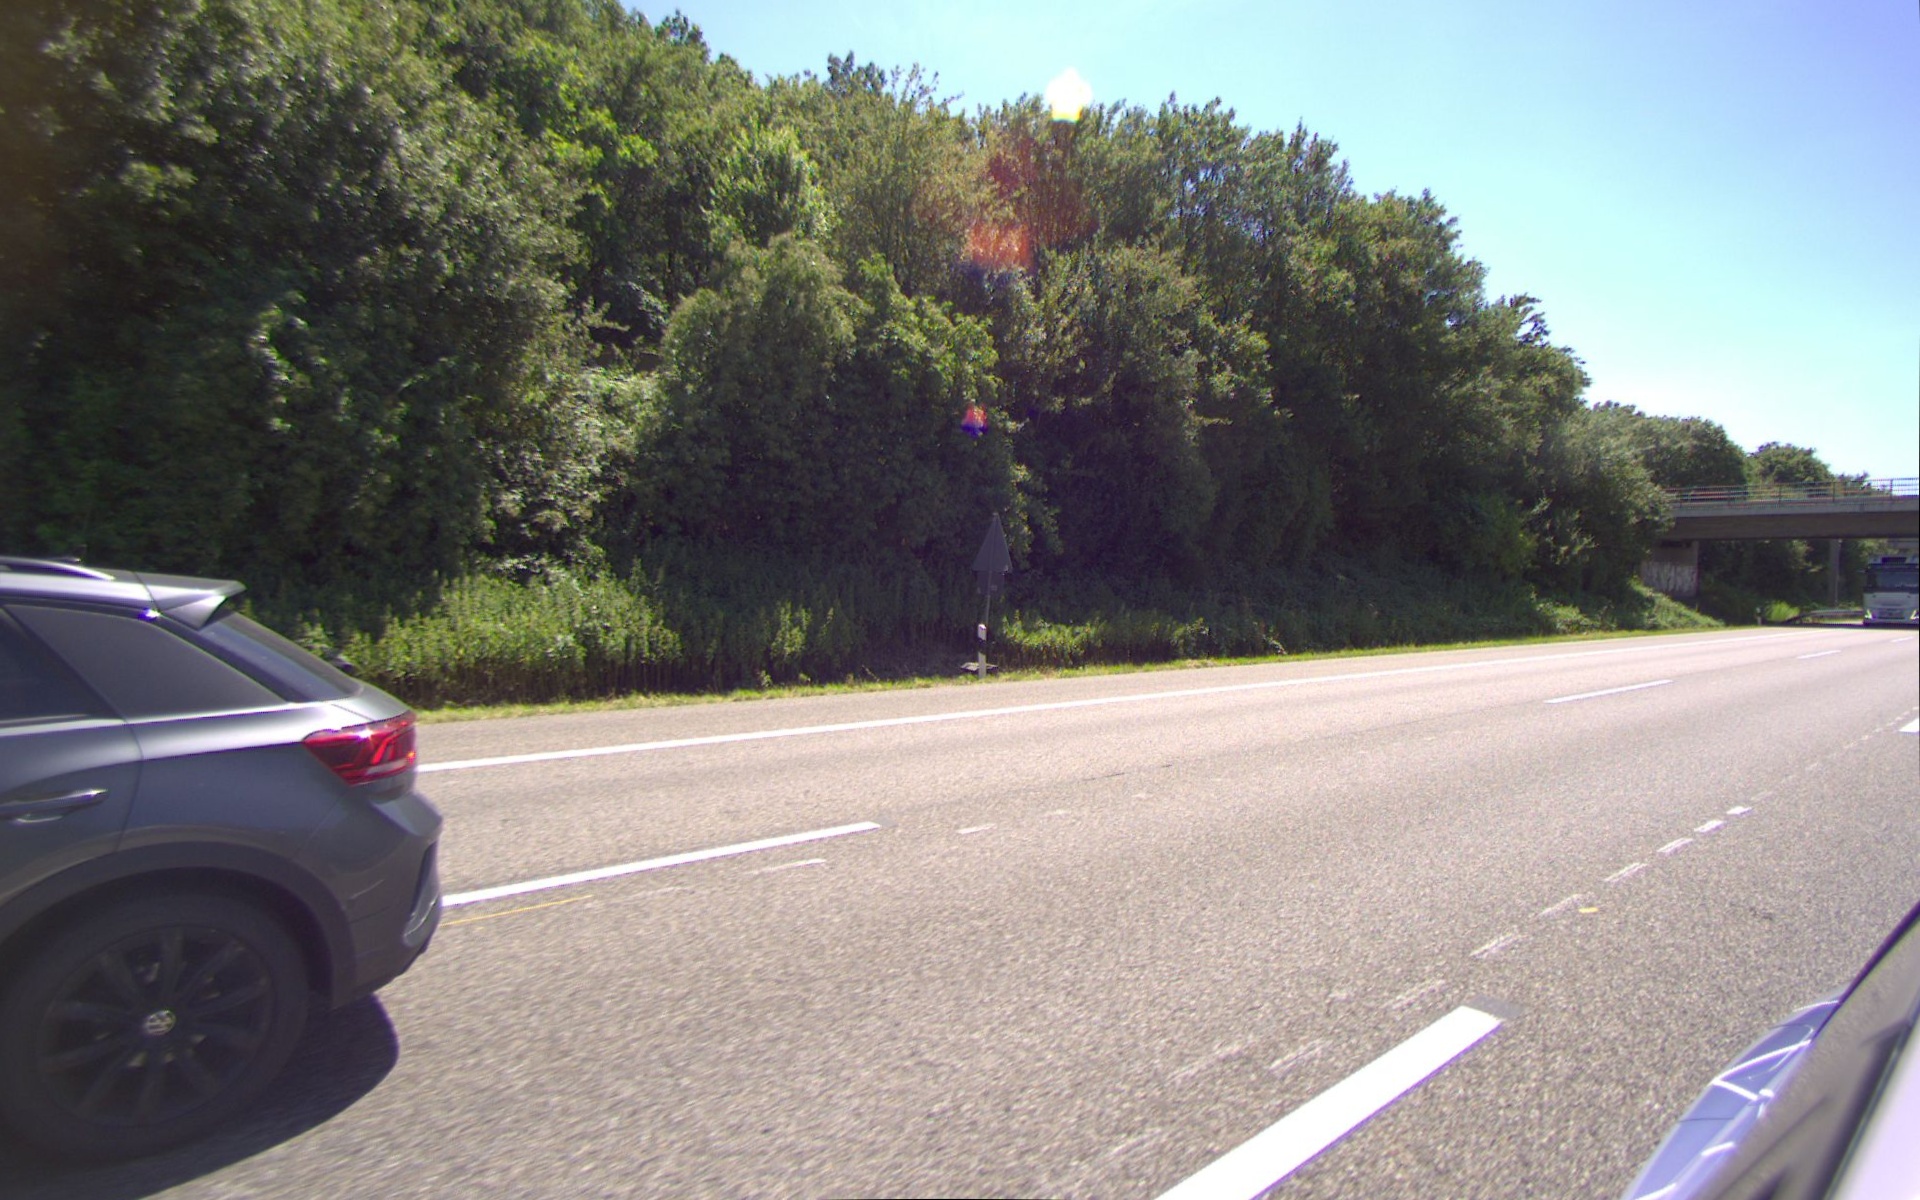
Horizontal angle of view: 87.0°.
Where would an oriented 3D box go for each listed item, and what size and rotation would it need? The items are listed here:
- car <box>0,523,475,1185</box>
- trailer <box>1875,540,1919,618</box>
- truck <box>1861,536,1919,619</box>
[{"bbox_3d":[-3.838,0.585,2.217,4.678,1.551,1.902,0,0,-42],"label":"car"},{"bbox_3d":[57.754,-1.153,60.562,13.596,4.278,3.044,0,0,-42],"label":"trailer"},{"bbox_3d":[51.074,-1.152,54.591,5.944,4.268,3.052,0,0,-42],"label":"truck"}]
